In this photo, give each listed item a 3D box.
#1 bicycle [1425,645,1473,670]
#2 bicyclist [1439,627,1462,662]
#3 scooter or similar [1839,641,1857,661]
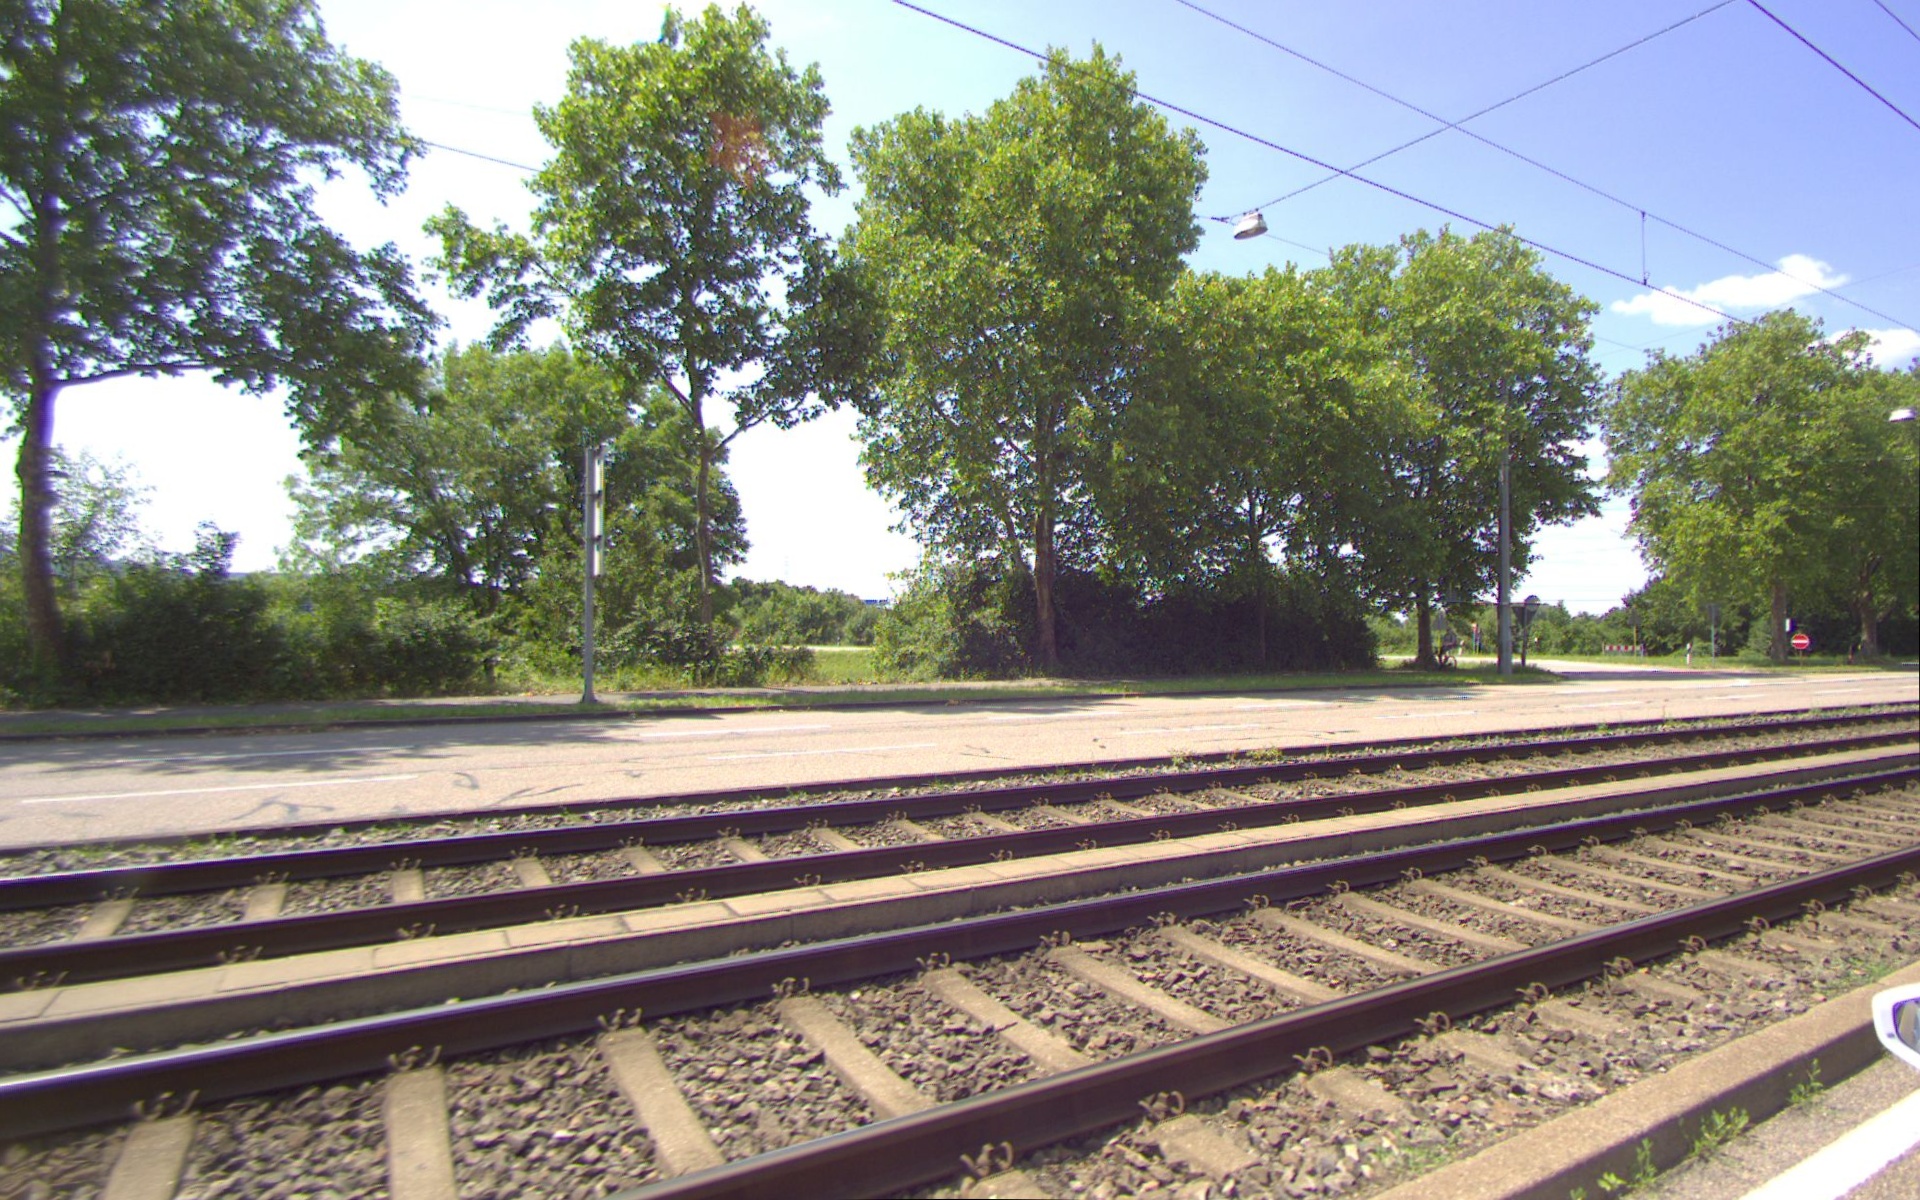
[{"bbox_3d":[19.999,2.348,41.066,1.733,1.001,0.731,1,-1,-18],"label":"bicycle"},{"bbox_3d":[20.088,1.819,41.142,0.635,1.448,0.585,1,-1,-17],"label":"bicyclist"},{"bbox_3d":[46.942,2.686,53.082,0.982,1.036,0.298,1,2,-23],"label":"scooter or similar"}]
